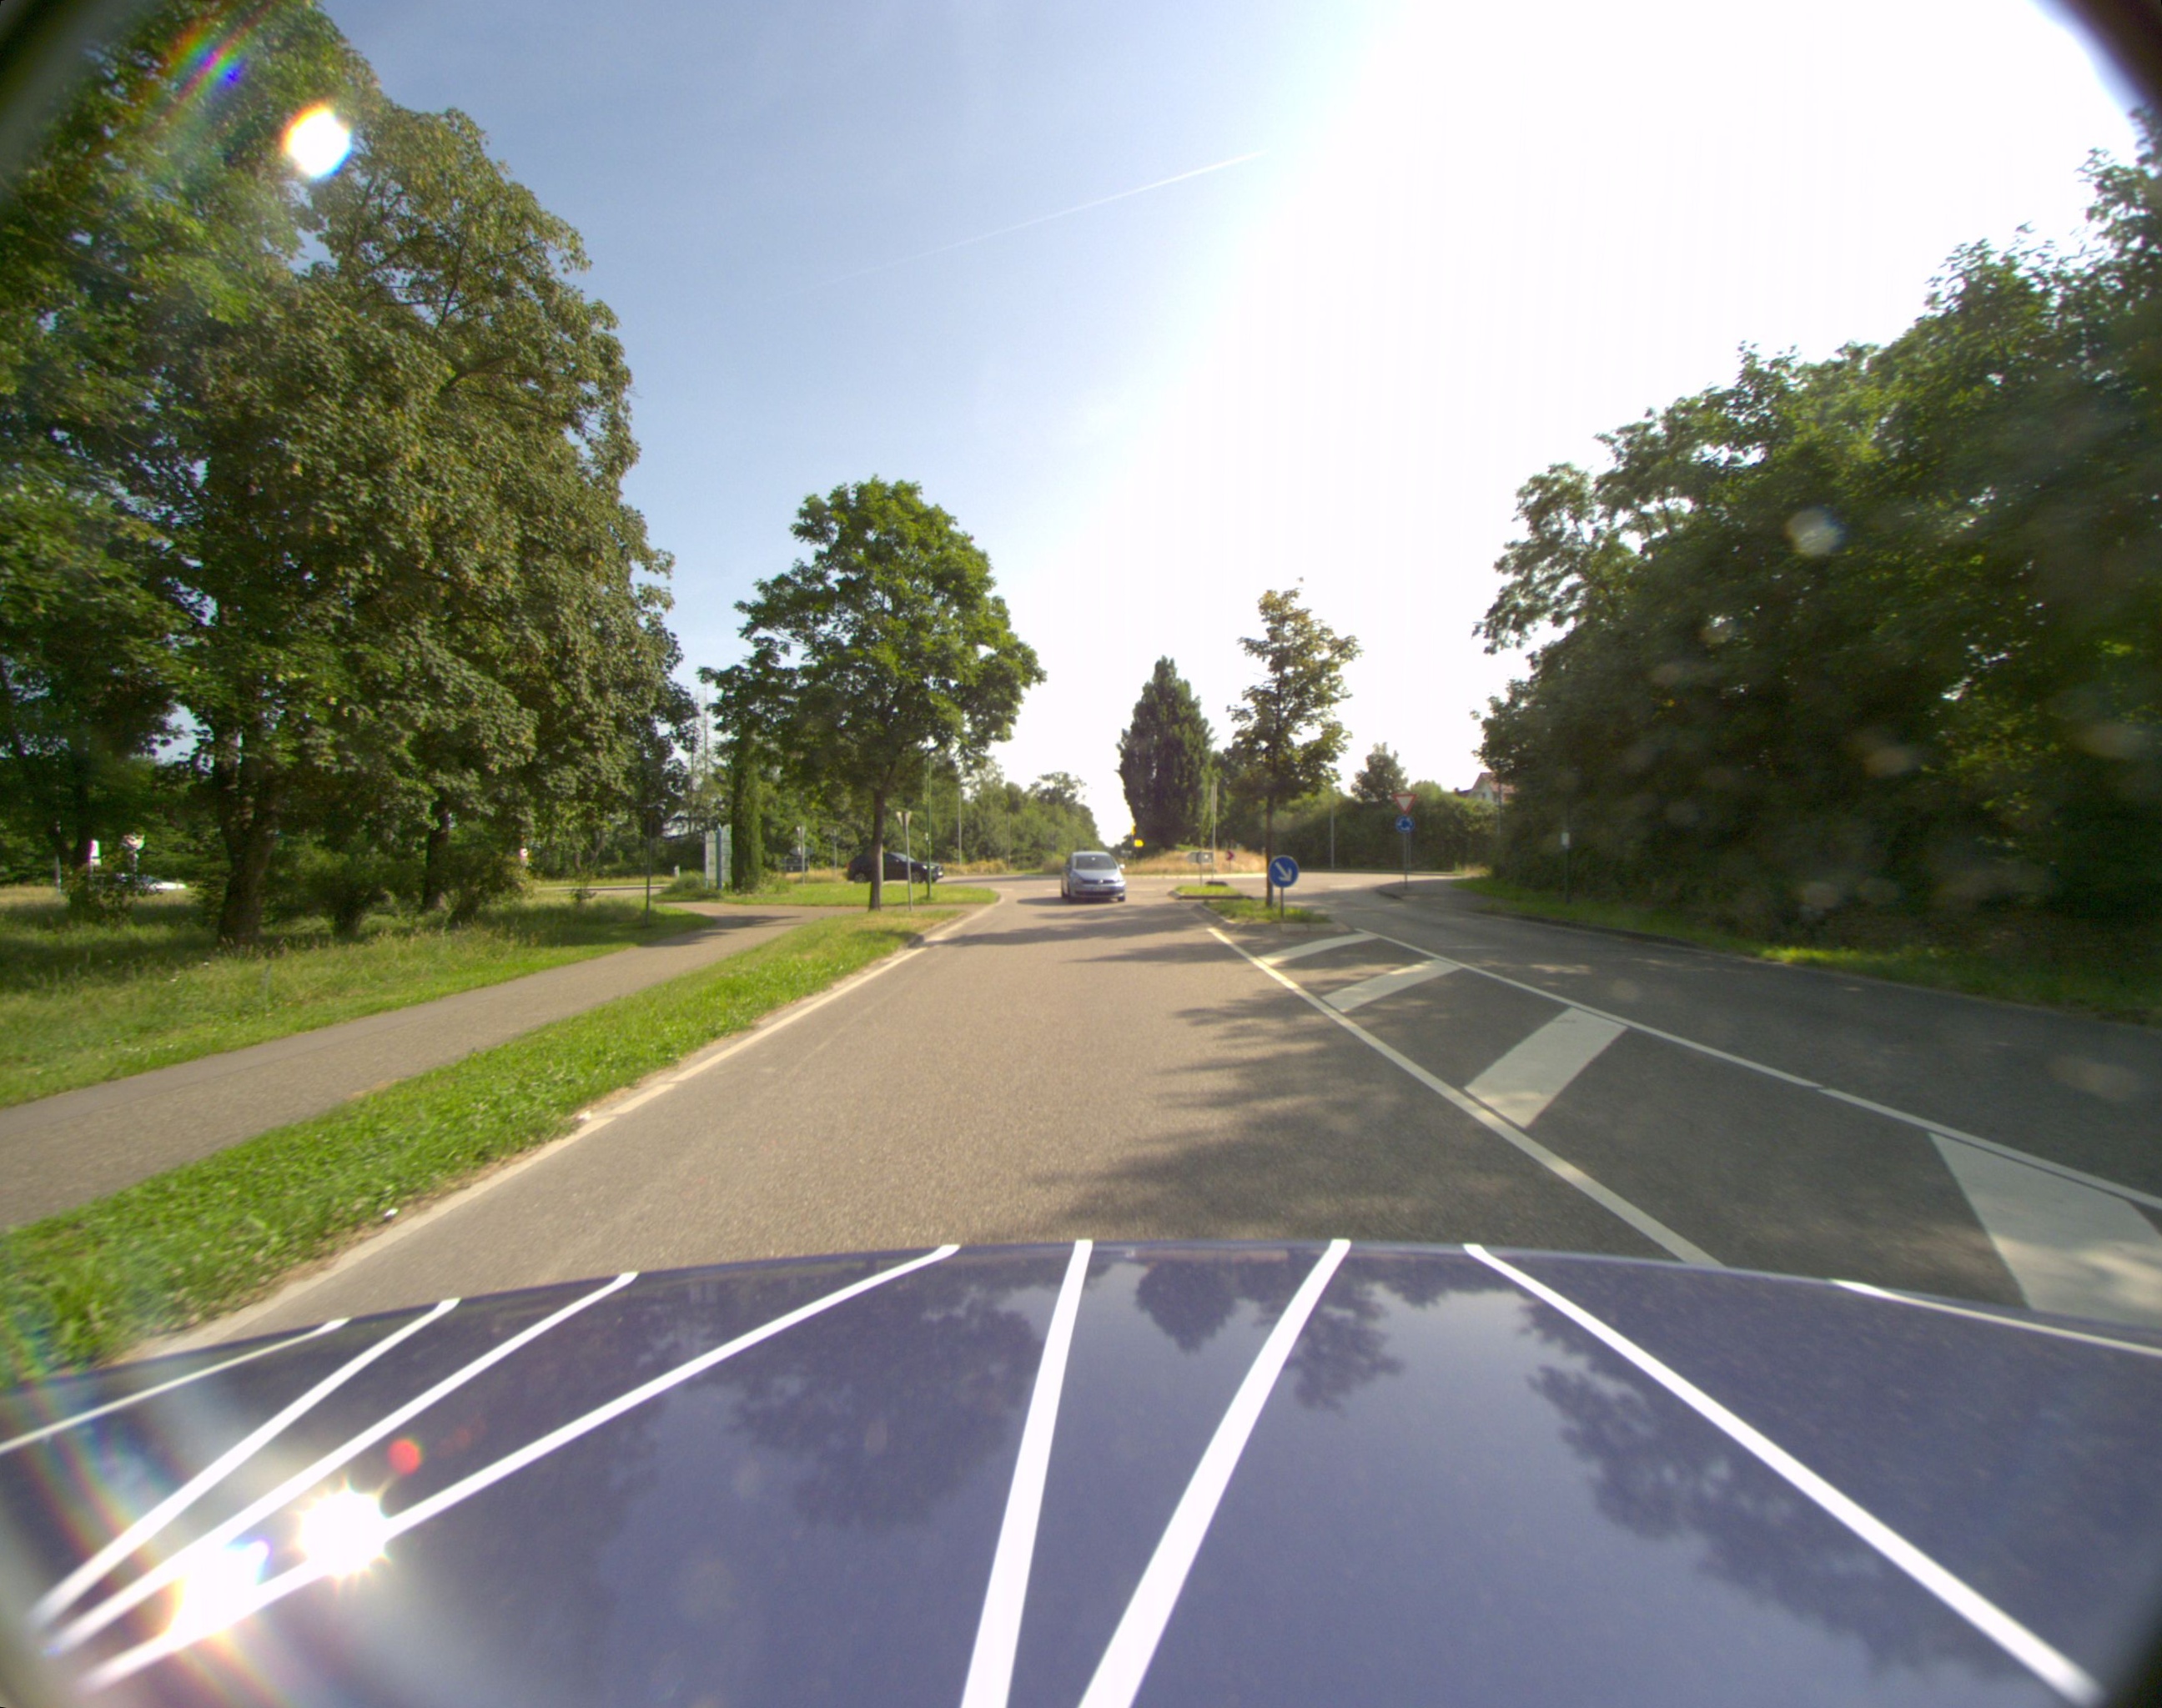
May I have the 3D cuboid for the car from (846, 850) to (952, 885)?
[{"bbox_3d":[-8.917,0.659,37.411,4.614,1.592,1.954,-1,1,8],"label":"car"}]

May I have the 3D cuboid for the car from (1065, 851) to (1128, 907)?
[{"bbox_3d":[0.471,0.716,23.945,1.808,1.592,4.269,-1,0,1],"label":"car"}]

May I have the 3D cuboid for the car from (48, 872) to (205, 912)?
[{"bbox_3d":[-43.331,1.681,34.600,4.136,1.540,1.901,-2,1,-11],"label":"car"}]
